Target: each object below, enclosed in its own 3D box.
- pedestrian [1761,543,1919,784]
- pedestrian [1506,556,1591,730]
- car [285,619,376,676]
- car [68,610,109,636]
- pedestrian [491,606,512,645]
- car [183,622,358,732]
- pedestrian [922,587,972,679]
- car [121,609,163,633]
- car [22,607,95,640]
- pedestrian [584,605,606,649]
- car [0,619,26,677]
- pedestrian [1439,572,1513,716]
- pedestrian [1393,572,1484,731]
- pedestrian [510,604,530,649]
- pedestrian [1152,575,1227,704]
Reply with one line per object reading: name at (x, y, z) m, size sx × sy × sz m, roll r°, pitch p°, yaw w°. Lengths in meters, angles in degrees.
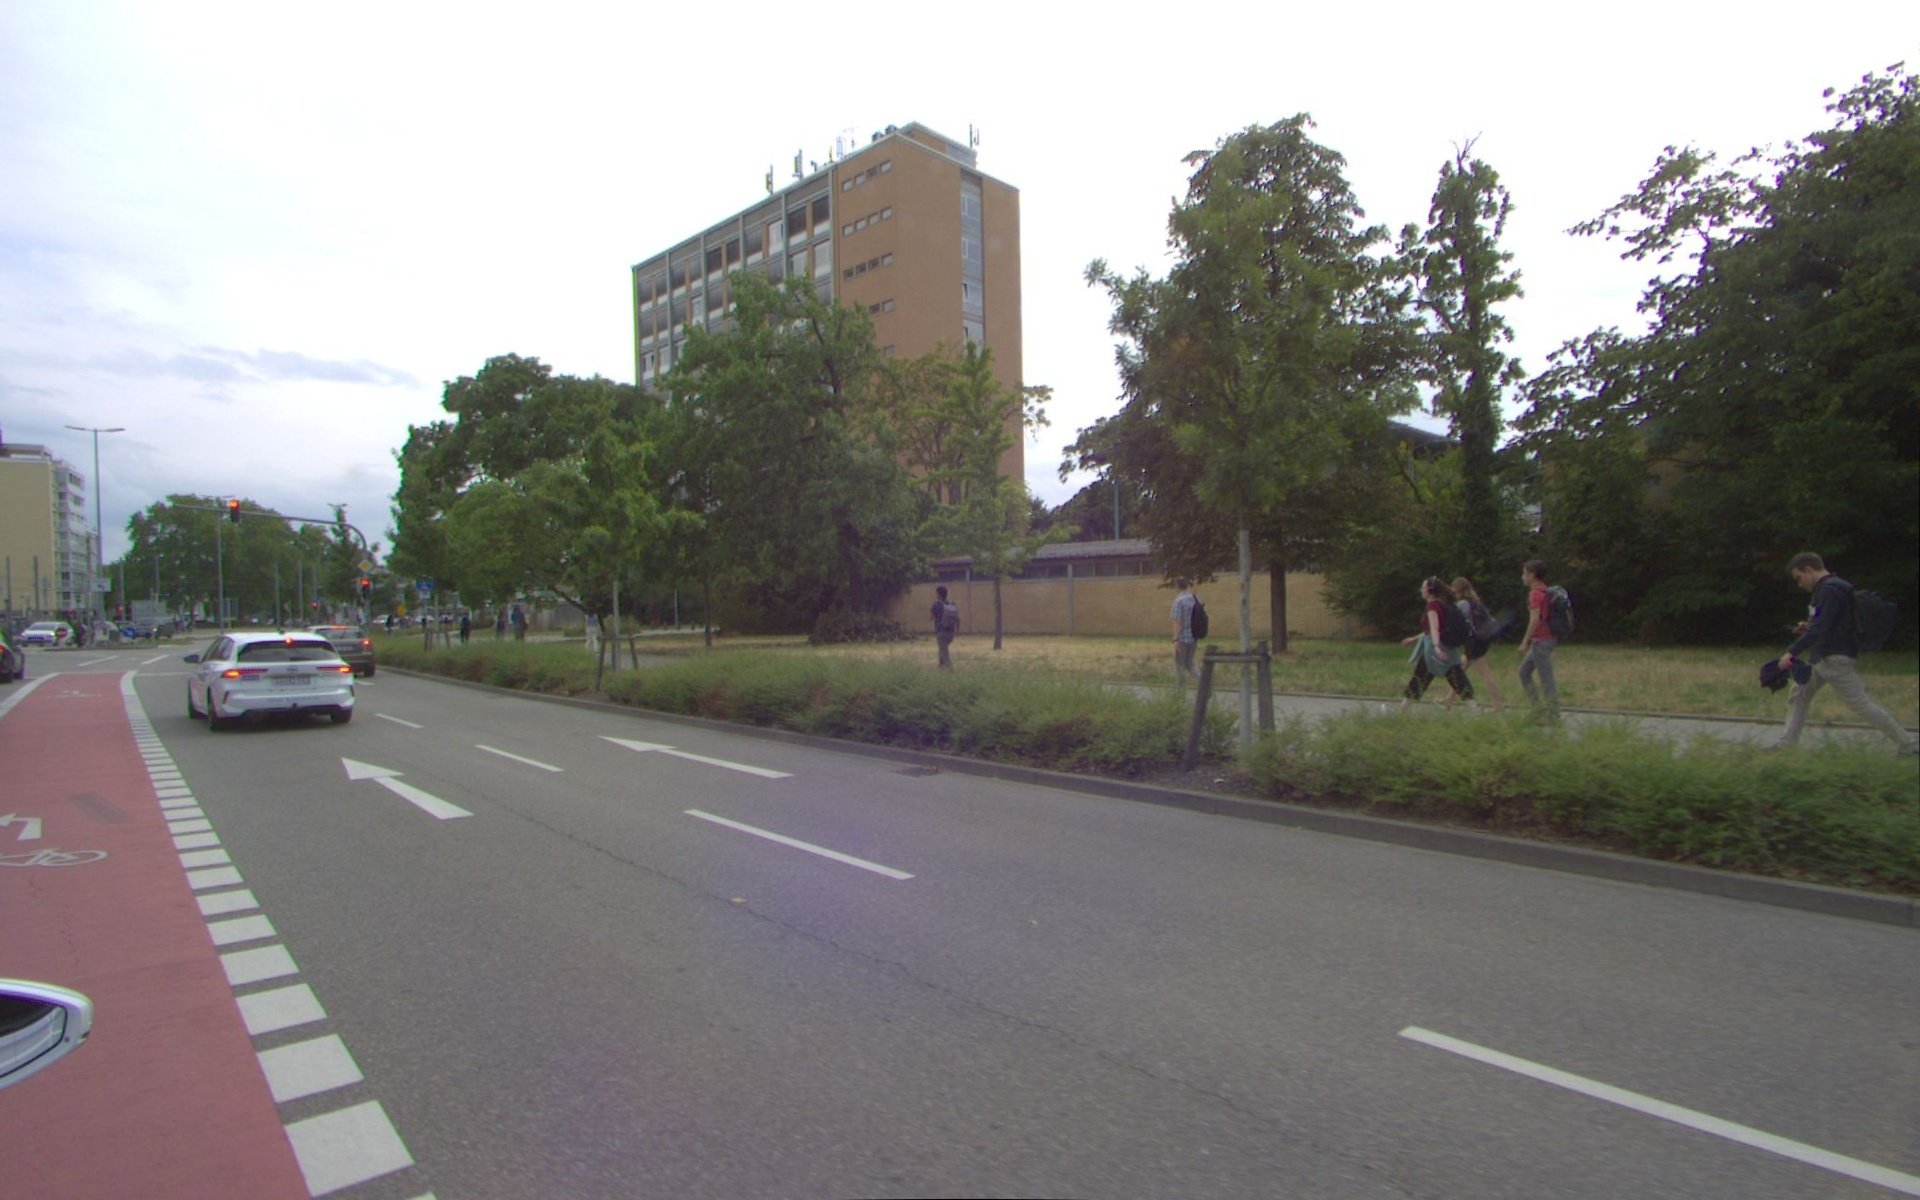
pedestrian at (7.259, 0.486, 8.234) m, size 0.687 × 1.845 × 0.946 m, roll -2°, pitch 1°, yaw -41°
pedestrian at (6.254, 0.443, 10.650) m, size 0.480 × 1.787 × 0.658 m, roll -2°, pitch 1°, yaw -41°
car at (-17.925, 1.293, 28.461) m, size 1.710 × 1.476 × 3.704 m, roll -1°, pitch 0°, yaw -40°
car at (-66.435, 1.713, 76.389) m, size 1.788 × 1.875 × 3.974 m, roll -1°, pitch 0°, yaw -34°
pedestrian at (-20.950, 1.151, 45.791) m, size 0.792 × 1.736 × 0.761 m, roll -1°, pitch 1°, yaw -29°
car at (-11.210, 1.107, 16.128) m, size 1.727 × 1.458 × 4.739 m, roll -1°, pitch 0°, yaw -42°
pedestrian at (-0.249, 0.614, 18.959) m, size 0.583 × 1.705 × 0.741 m, roll -2°, pitch 1°, yaw -41°
car at (-71.655, 1.804, 87.804) m, size 1.969 × 2.040 × 3.982 m, roll -1°, pitch 0°, yaw -27°
car at (-62.130, 1.564, 69.142) m, size 2.554 × 2.137 × 5.571 m, roll -1°, pitch 0°, yaw -30°
pedestrian at (-12.428, 0.909, 34.117) m, size 0.649 × 1.490 × 0.559 m, roll -1°, pitch 1°, yaw -25°
car at (-25.354, 1.218, 25.943) m, size 1.644 × 1.415 × 3.822 m, roll -1°, pitch 0°, yaw -44°
pedestrian at (6.116, 0.507, 11.879) m, size 0.464 × 1.655 × 0.647 m, roll -2°, pitch 1°, yaw -41°
pedestrian at (5.245, 0.540, 10.987) m, size 0.551 × 1.677 × 0.747 m, roll -2°, pitch 1°, yaw -41°
pedestrian at (-17.287, 1.042, 39.333) m, size 0.638 × 1.736 × 0.559 m, roll -1°, pitch 1°, yaw -27°
pedestrian at (3.229, 0.541, 14.111) m, size 0.614 × 1.758 × 0.807 m, roll -2°, pitch 1°, yaw -41°
